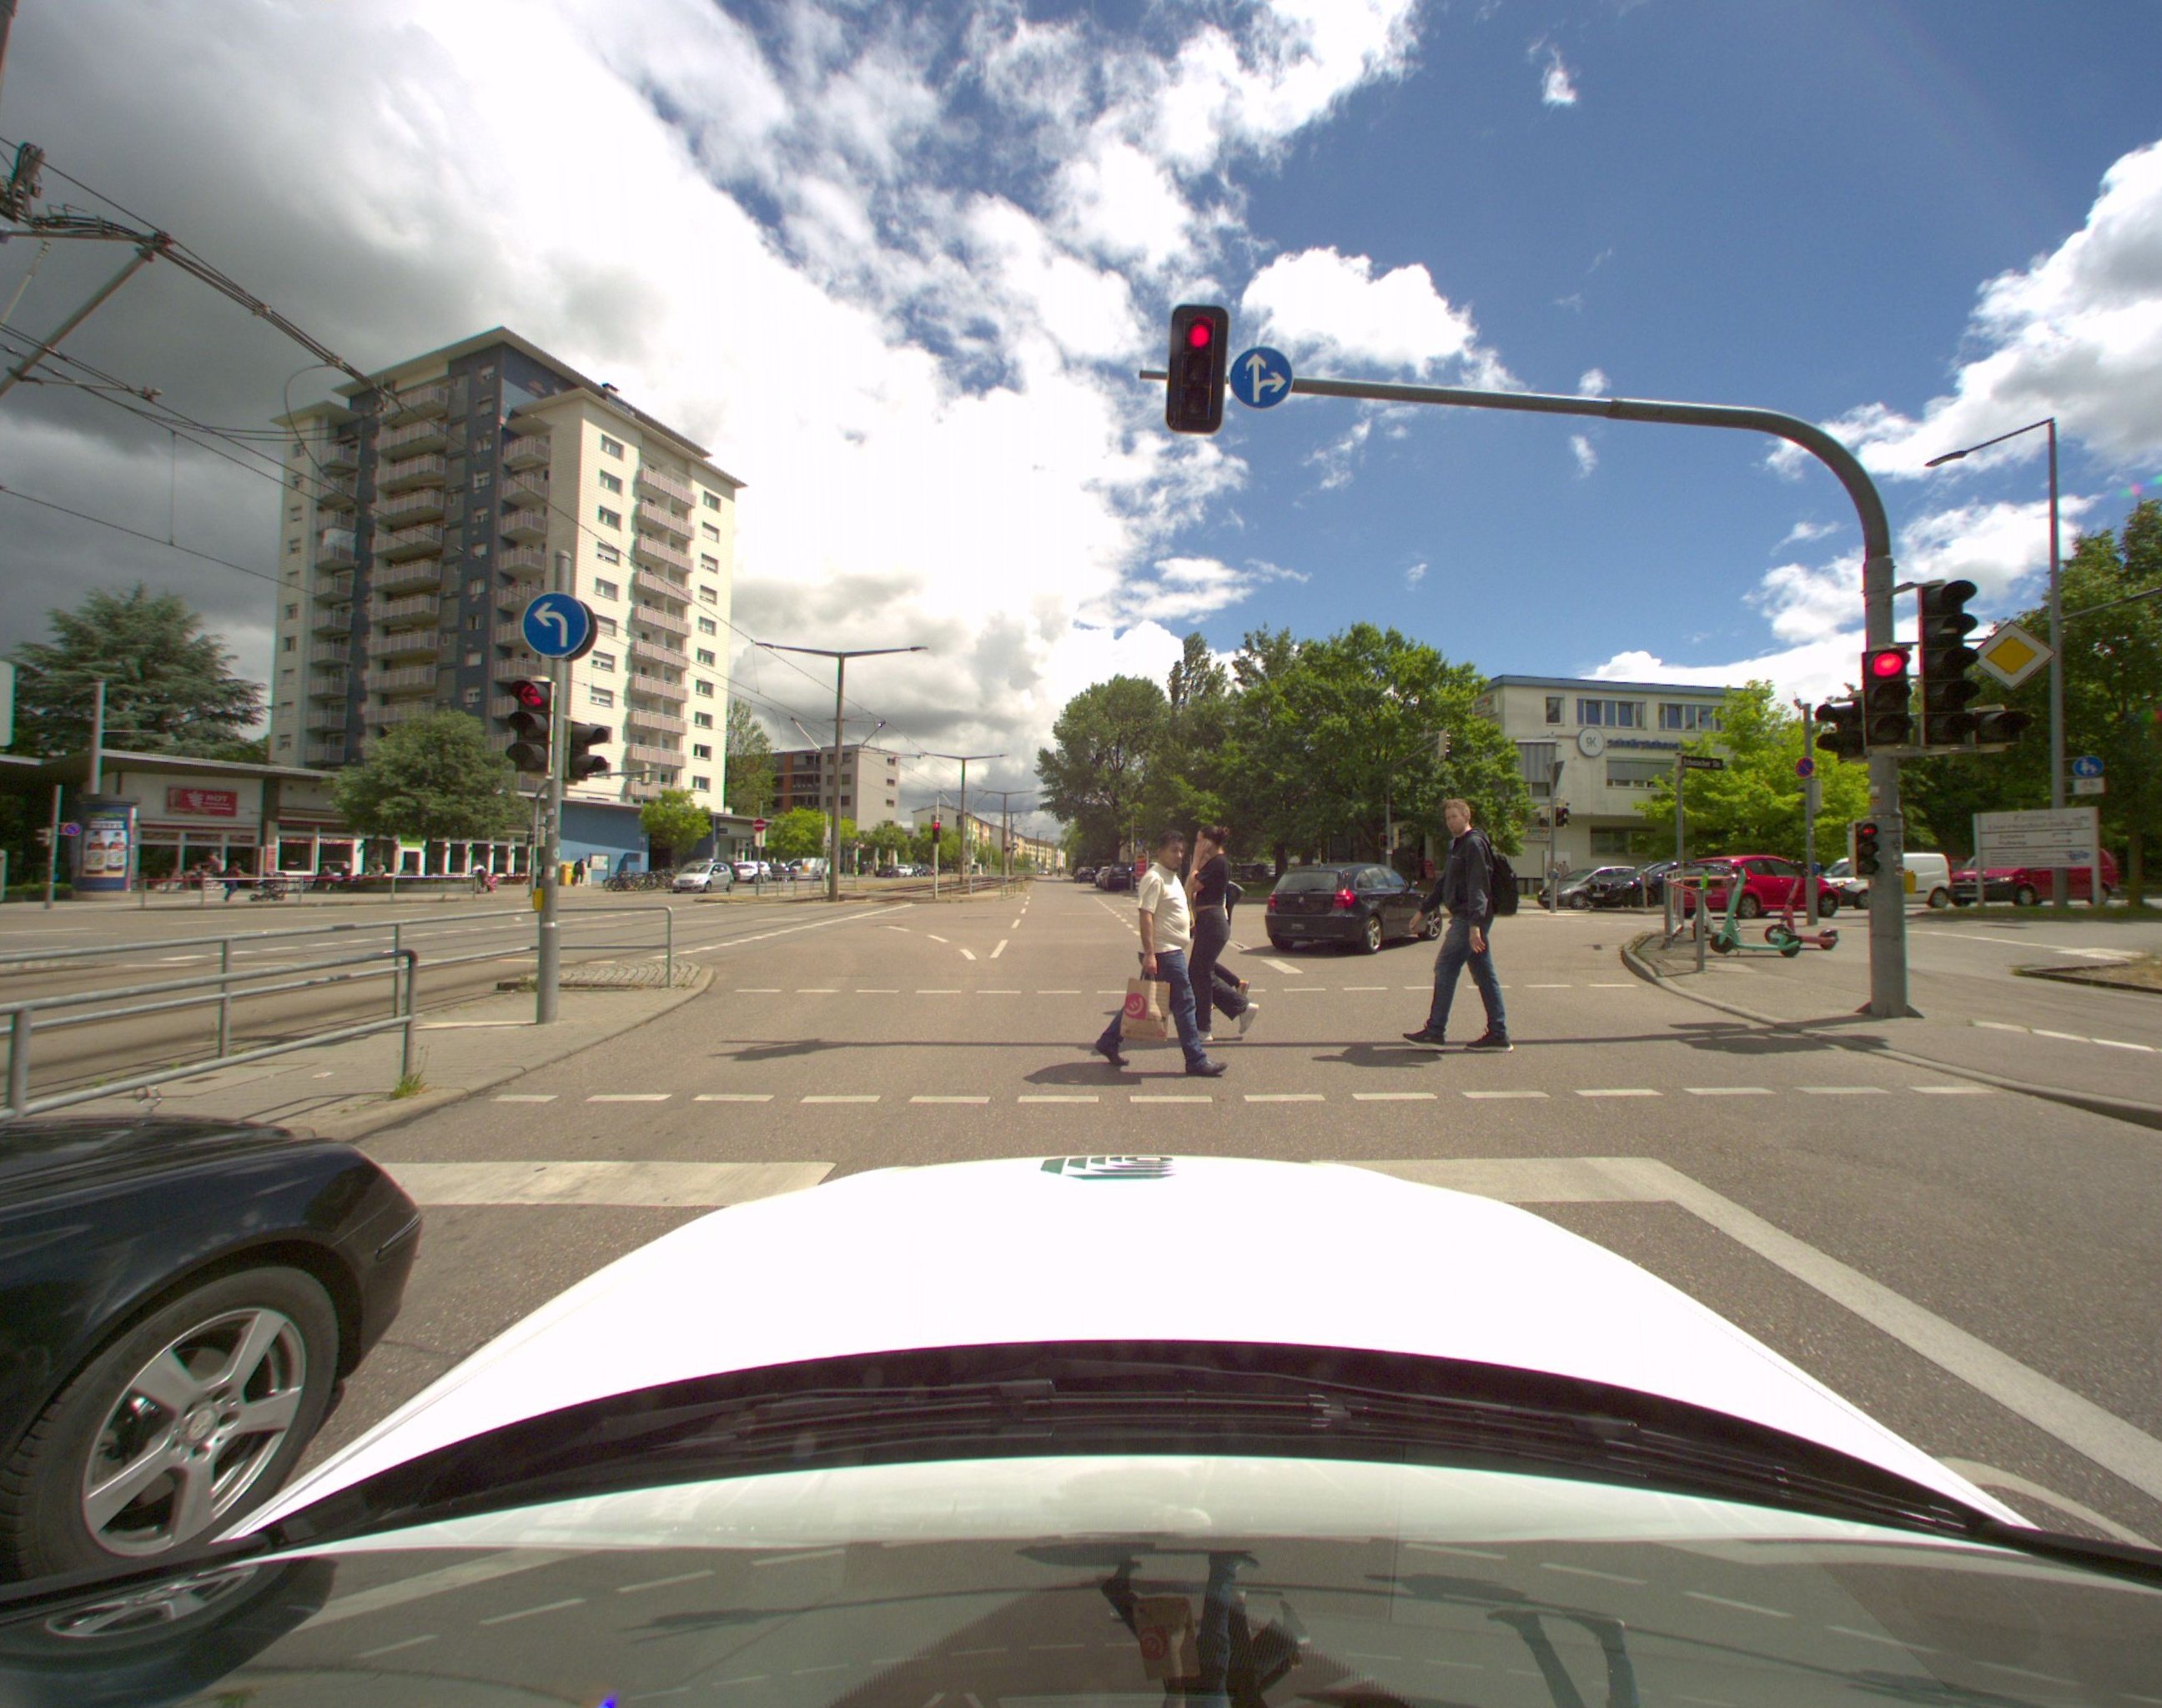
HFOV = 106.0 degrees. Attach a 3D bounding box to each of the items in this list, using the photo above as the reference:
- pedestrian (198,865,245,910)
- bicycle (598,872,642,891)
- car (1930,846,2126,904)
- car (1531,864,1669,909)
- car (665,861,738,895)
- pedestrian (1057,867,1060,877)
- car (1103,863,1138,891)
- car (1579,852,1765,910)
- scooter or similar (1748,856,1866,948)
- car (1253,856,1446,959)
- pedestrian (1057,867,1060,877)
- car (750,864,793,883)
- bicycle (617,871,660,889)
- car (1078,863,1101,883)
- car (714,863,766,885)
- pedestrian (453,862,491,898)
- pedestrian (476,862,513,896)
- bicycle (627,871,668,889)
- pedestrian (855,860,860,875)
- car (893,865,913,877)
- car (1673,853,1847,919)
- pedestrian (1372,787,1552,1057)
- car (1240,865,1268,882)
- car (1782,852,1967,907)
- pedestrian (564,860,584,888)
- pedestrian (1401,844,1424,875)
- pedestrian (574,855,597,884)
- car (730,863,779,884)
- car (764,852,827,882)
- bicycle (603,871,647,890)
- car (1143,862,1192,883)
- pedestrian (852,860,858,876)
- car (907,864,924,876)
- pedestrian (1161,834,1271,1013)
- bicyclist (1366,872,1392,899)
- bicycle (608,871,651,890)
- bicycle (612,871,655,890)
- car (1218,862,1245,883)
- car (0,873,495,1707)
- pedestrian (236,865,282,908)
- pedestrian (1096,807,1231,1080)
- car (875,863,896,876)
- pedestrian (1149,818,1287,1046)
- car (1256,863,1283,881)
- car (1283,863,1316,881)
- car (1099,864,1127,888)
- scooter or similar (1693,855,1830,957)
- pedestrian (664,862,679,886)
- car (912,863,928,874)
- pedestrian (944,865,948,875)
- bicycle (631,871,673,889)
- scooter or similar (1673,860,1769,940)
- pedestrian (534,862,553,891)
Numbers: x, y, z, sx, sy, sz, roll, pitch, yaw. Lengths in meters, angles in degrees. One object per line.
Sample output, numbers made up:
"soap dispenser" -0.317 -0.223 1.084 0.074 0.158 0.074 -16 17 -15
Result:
"pedestrian" -32.769 1.269 31.047 0.957 1.659 1.002 -1 -1 27
"bicycle" -23.404 1.368 41.356 1.943 0.935 0.494 0 -1 -5
"car" 31.797 0.698 27.421 4.800 1.865 1.994 0 -2 -8
"car" 18.847 1.151 29.662 3.906 1.556 1.994 0 -1 -9
"car" -19.804 1.218 42.668 1.930 1.693 3.874 0 0 2
"pedestrian" -3.665 2.904 131.816 0.477 1.637 0.454 0 -1 1
"car" 2.495 1.463 51.980 2.144 1.684 4.001 0 -1 2
"car" 18.463 0.814 25.565 4.551 1.717 1.996 0 -1 -5
"scooter or similar" 10.245 0.670 11.505 1.225 1.240 0.555 2 0 -7
"car" 4.707 0.788 13.941 1.736 1.487 4.025 0 0 41
"pedestrian" -3.629 2.923 131.861 0.334 1.627 0.356 0 -1 -16
"car" -24.867 1.533 65.285 1.800 1.420 4.166 0 -1 -43
"bicycle" -23.548 1.391 43.349 1.943 0.935 0.494 0 -1 -5
"car" 0.817 1.722 74.840 1.986 1.684 4.002 0 0 2
"car" -24.598 1.416 58.697 4.165 1.570 1.973 -1 -1 45
"pedestrian" -28.750 1.239 38.474 0.937 1.659 1.104 -1 -1 17
"pedestrian" -28.552 1.210 39.647 0.937 1.659 1.104 -1 -1 17
"bicycle" -23.394 1.396 43.954 1.943 0.935 0.494 0 -1 -5
"pedestrian" -25.064 1.500 91.361 0.547 1.716 0.404 0 -1 -8
"car" -21.667 2.086 99.275 1.758 1.395 3.993 0 0 -5
"car" 15.728 0.697 18.916 3.189 1.441 1.540 0 0 -14
"pedestrian" 2.911 0.488 6.327 0.963 1.942 0.896 0 0 -3
"car" 15.928 1.780 75.207 1.626 1.573 4.030 0 0 -1
"car" 26.079 0.798 26.847 4.555 1.717 1.995 0 -1 -8
"pedestrian" -29.886 1.170 47.995 0.767 1.615 0.695 0 -1 -12
"pedestrian" 17.845 0.289 43.817 0.769 1.643 0.903 0 -1 -13
"pedestrian" -33.161 1.030 54.535 0.864 1.917 1.212 0 0 -7
"car" -24.900 1.449 62.083 4.165 1.538 1.973 -1 -1 45
"car" -24.682 1.099 70.301 2.848 2.479 6.641 0 -1 -42
"bicycle" -23.440 1.374 41.850 1.943 0.935 0.494 0 -1 -5
"car" 7.771 1.653 73.389 4.001 1.823 1.766 0 -1 -21
"pedestrian" -24.048 1.471 86.691 0.547 1.716 0.667 0 -1 -8
"car" -21.443 2.064 105.707 1.758 1.395 3.993 0 0 -5
"pedestrian" 1.379 0.665 8.199 0.945 1.674 0.874 -1 -1 16
"bicyclist" 11.513 1.210 31.467 0.789 1.022 0.636 0 -1 1
"bicycle" -23.474 1.380 42.355 1.943 0.935 0.494 0 -1 -5
"bicycle" -23.516 1.385 42.830 1.943 0.935 0.494 0 -1 -5
"car" 13.732 1.665 74.532 1.626 1.811 4.030 0 0 -1
"car" -2.767 0.779 0.276 1.721 1.461 4.546 0 0 2
"pedestrian" -32.379 1.277 32.087 0.957 1.659 1.002 -1 -1 27
"pedestrian" 0.558 0.593 5.801 0.866 1.808 0.741 0 0 -2
"car" -21.999 1.712 91.819 1.758 1.395 3.993 0 0 -5
"pedestrian" 1.115 0.604 6.778 0.933 1.765 0.769 0 0 -10
"car" 17.646 1.654 76.381 1.626 1.595 3.998 0 0 -1
"car" 20.528 1.659 76.772 1.728 1.595 3.992 0 0 -5
"car" 2.335 1.572 59.434 1.986 1.684 4.001 0 -2 2
"scooter or similar" 8.859 0.661 10.629 1.336 1.277 0.463 0 0 8
"pedestrian" -28.309 1.382 56.267 0.768 1.615 0.695 0 -1 -14
"car" -21.810 1.979 110.445 1.758 1.395 3.993 0 0 -5
"pedestrian" -21.343 2.537 128.627 0.451 1.637 0.480 0 -1 -1
"bicycle" -23.416 1.402 44.453 1.943 0.935 0.494 0 -1 -5
"scooter or similar" 9.761 0.682 12.417 1.360 1.156 0.540 1 0 -23
"pedestrian" -30.154 1.251 45.701 0.771 1.615 0.692 0 -1 -27
